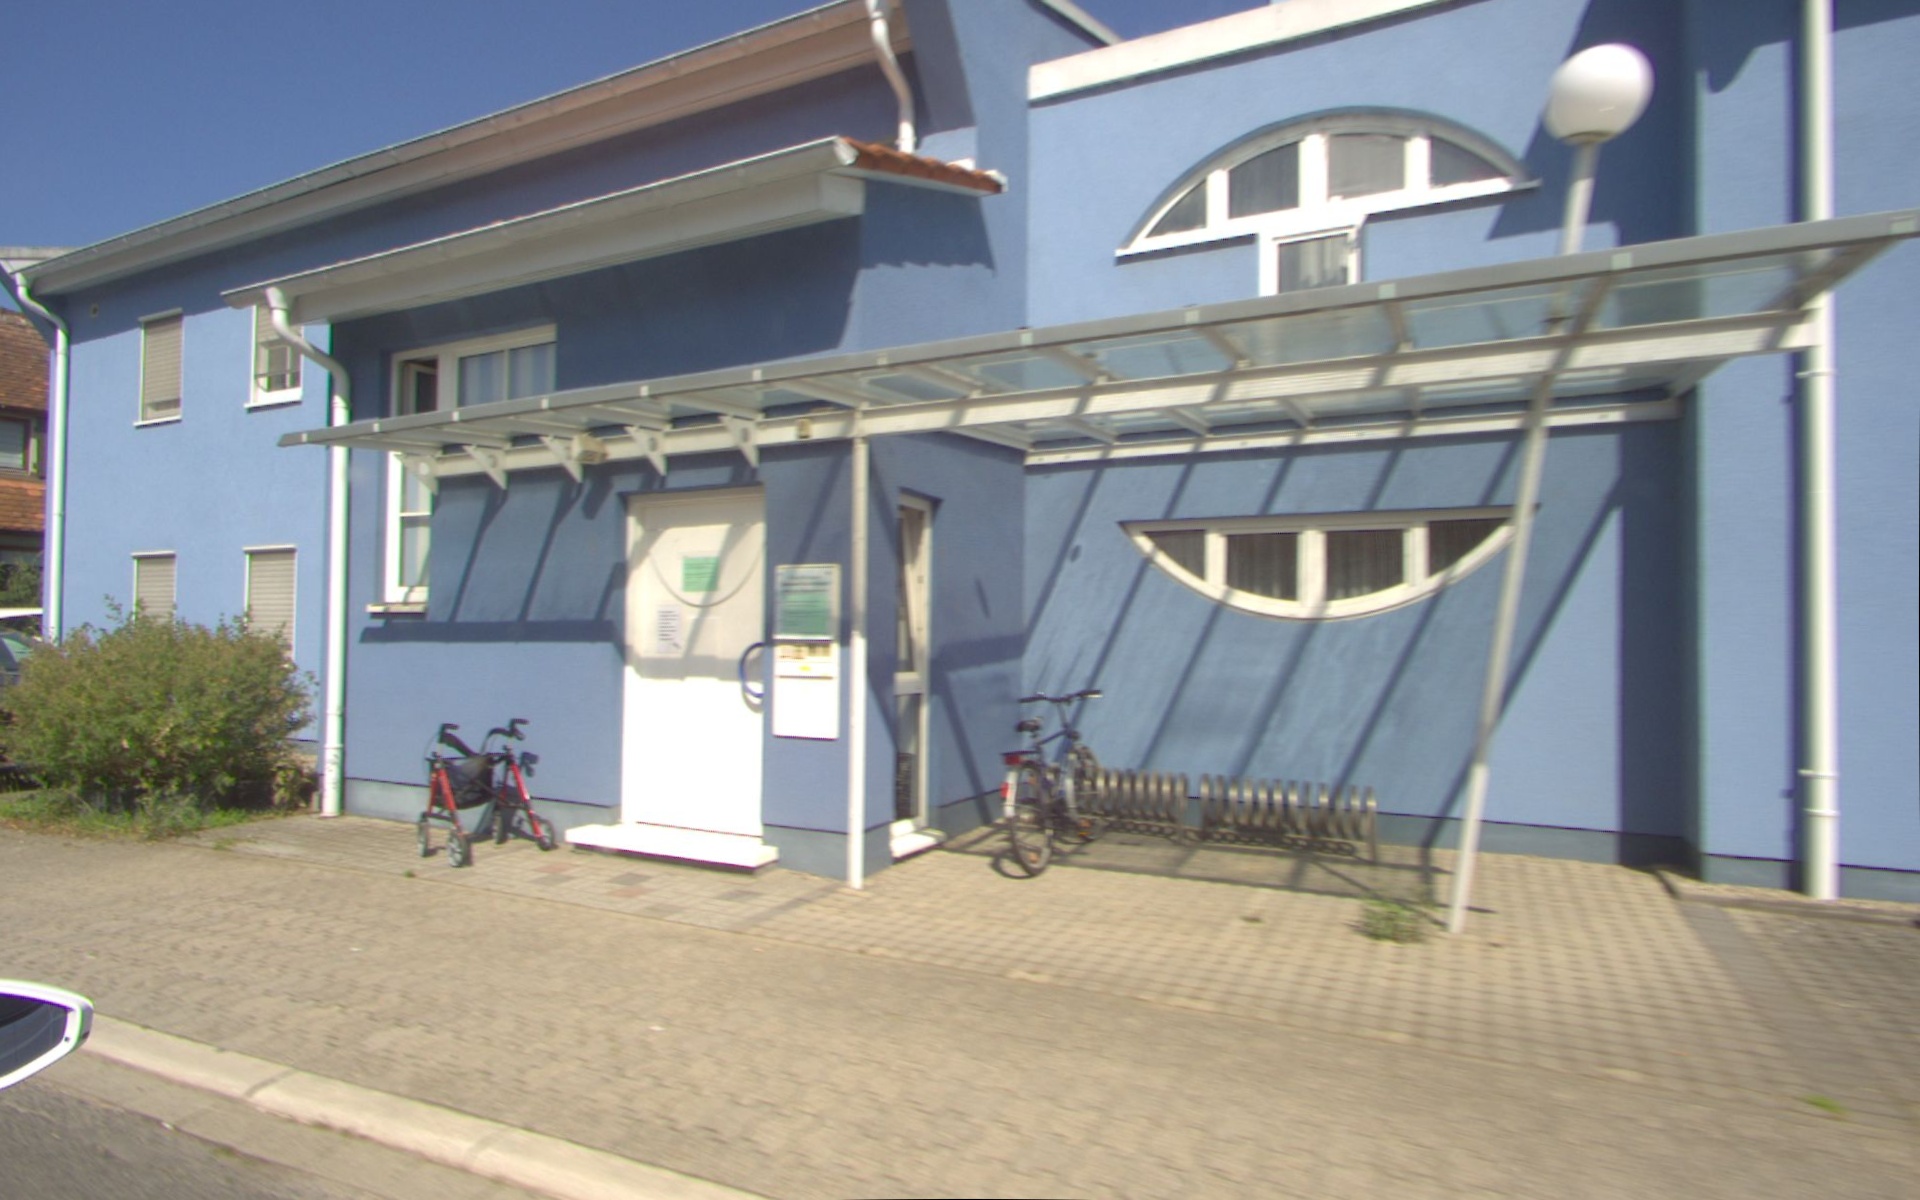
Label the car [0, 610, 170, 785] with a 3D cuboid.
[{"bbox_3d":[-9.571,0.838,9.415,4.078,1.437,1.691,-1,-3,25],"label":"car"}]

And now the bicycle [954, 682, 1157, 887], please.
[{"bbox_3d":[0.690,1.084,6.454,0.646,0.993,1.954,0,-1,27],"label":"bicycle"}]

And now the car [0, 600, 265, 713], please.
[{"bbox_3d":[-14.376,0.906,16.762,1.783,1.678,4.174,0,-2,27],"label":"car"}]

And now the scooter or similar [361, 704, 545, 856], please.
[{"bbox_3d":[-3.256,1.119,6.452,0.815,0.825,0.727,0,-2,29],"label":"scooter or similar"}]
